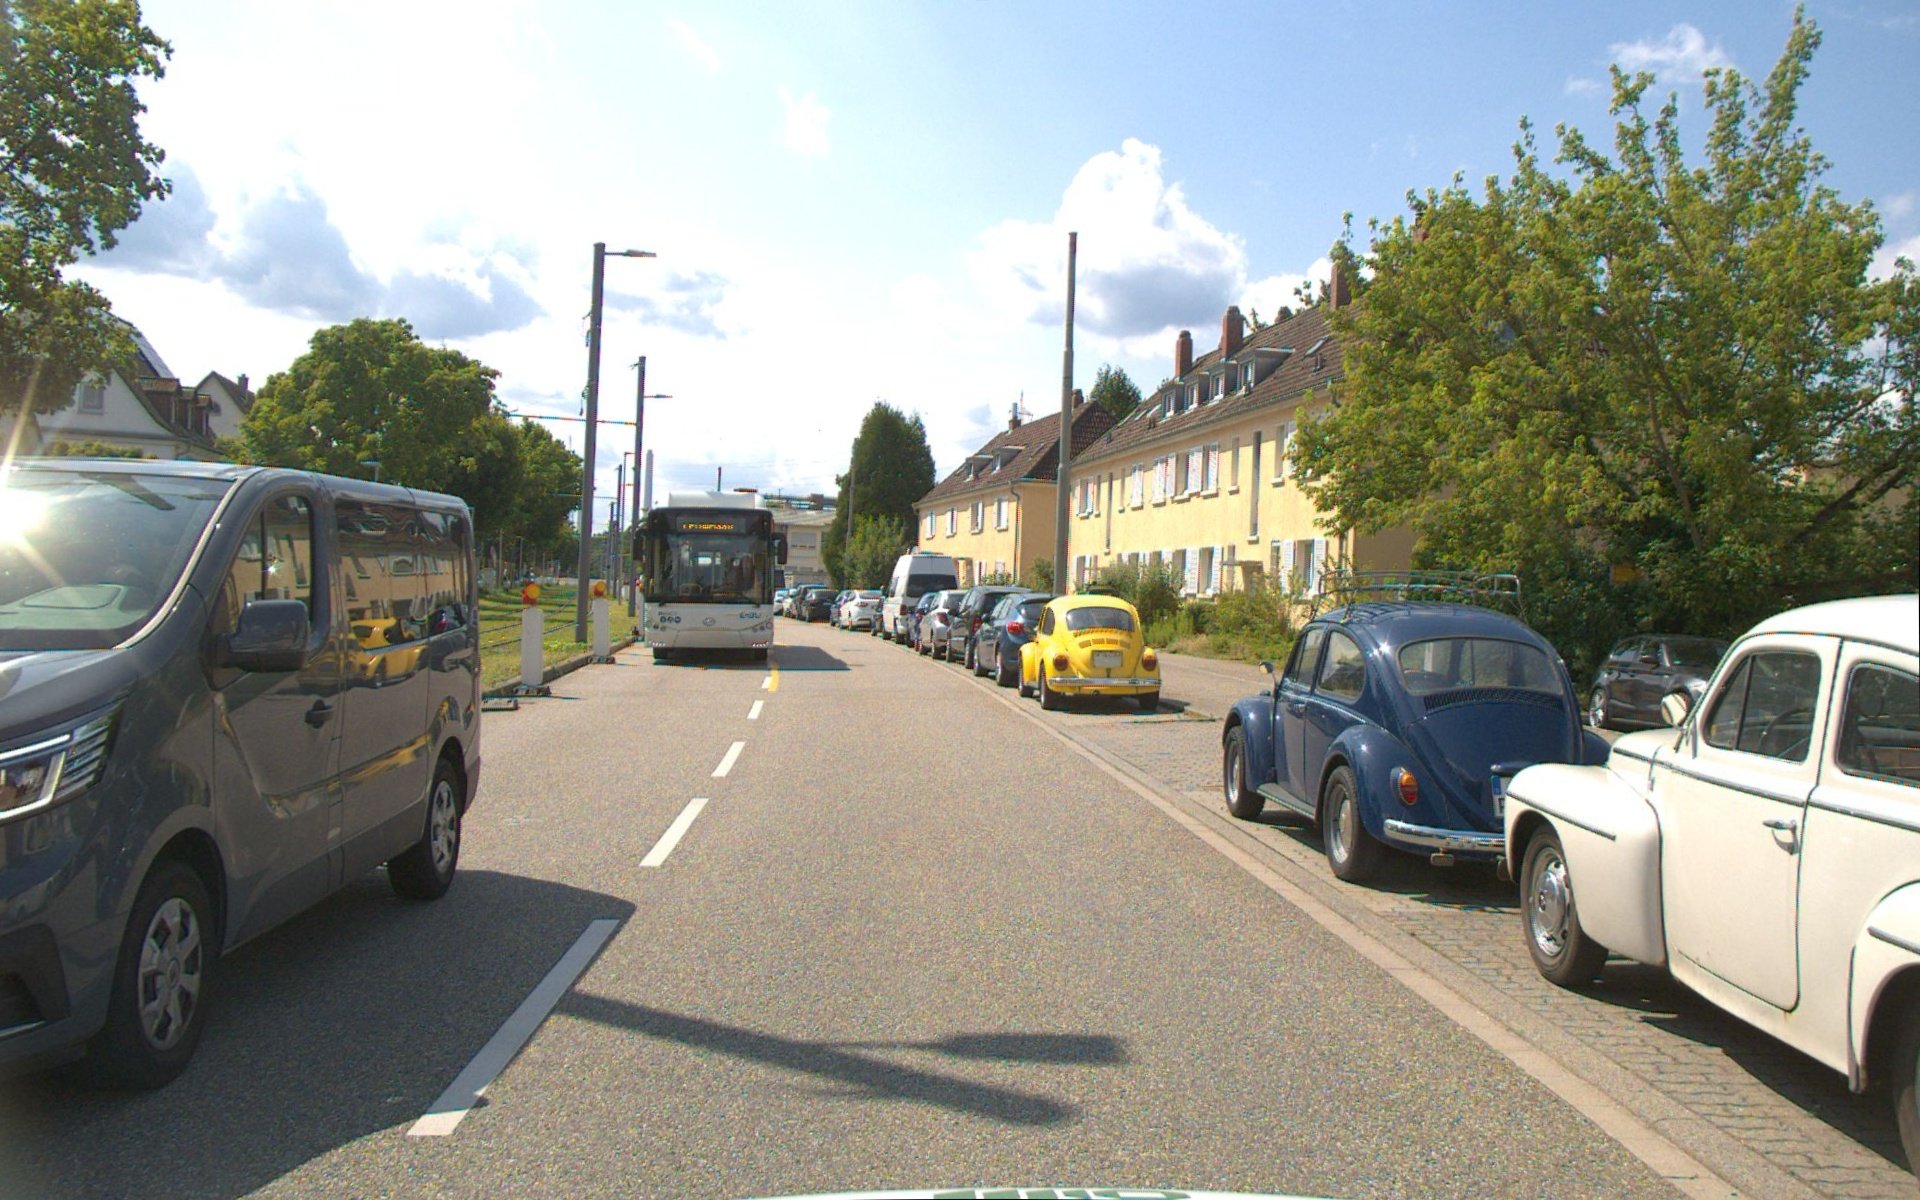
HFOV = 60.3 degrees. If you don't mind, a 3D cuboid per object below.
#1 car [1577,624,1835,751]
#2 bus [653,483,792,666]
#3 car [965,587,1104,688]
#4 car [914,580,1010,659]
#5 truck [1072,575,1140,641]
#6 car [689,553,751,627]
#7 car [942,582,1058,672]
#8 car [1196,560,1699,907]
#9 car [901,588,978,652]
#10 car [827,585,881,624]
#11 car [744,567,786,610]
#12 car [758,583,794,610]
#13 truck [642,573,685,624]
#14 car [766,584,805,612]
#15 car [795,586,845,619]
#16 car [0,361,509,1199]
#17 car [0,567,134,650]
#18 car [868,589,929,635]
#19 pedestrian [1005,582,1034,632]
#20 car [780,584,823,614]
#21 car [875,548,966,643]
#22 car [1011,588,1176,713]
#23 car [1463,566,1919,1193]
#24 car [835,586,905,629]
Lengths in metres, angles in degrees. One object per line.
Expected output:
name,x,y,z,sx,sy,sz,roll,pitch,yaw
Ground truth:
car,9.700,1.076,21.851,1.602,1.379,4.088,2,0,1
bus,-5.348,-0.544,37.677,2.586,3.472,12.227,1,0,-8
car,1.177,0.578,27.935,1.605,1.508,4.118,2,0,-7
car,-0.008,0.406,37.428,1.605,1.630,4.023,2,0,-7
truck,4.018,0.213,45.735,1.321,1.718,2.437,2,0,-8
car,-8.778,-0.366,60.546,2.063,2.486,5.561,2,0,-8
car,0.743,0.498,33.390,1.606,1.630,3.923,2,0,-9
car,2.725,0.653,10.300,1.518,1.669,4.242,2,0,-5
car,-0.563,0.468,42.102,1.507,1.470,3.731,2,0,-7
car,-4.223,0.162,65.419,1.592,1.442,3.988,0,1,-12
car,-11.939,-0.724,100.935,1.925,2.522,6.040,0,1,-13
car,-10.582,-0.223,94.971,1.733,1.528,3.988,0,1,-12
truck,-21.113,-0.150,117.595,2.516,3.520,7.124,0,1,-14
car,-9.527,-0.144,89.955,1.733,1.465,3.988,0,1,-12
car,-6.290,0.099,74.066,1.733,1.442,3.988,0,1,-12
car,-3.294,0.413,6.322,1.916,2.000,5.289,1,0,-3
car,-17.695,0.125,31.679,1.785,1.430,4.805,2,0,-7
car,-1.978,0.372,52.240,1.318,1.364,3.277,2,-1,-12
pedestrian,2.035,0.237,56.312,0.837,1.680,0.636,3,0,-7
car,-8.083,-0.070,83.912,1.733,1.502,3.988,0,1,-12
car,-1.191,-0.142,47.421,1.893,2.524,5.507,1,0,-9
car,1.749,0.621,22.812,1.604,1.508,3.927,-1,1,-5
car,3.116,0.710,5.175,1.546,1.539,4.458,2,0,-2
car,-3.303,0.269,59.927,1.767,1.483,4.750,0,0,-12
